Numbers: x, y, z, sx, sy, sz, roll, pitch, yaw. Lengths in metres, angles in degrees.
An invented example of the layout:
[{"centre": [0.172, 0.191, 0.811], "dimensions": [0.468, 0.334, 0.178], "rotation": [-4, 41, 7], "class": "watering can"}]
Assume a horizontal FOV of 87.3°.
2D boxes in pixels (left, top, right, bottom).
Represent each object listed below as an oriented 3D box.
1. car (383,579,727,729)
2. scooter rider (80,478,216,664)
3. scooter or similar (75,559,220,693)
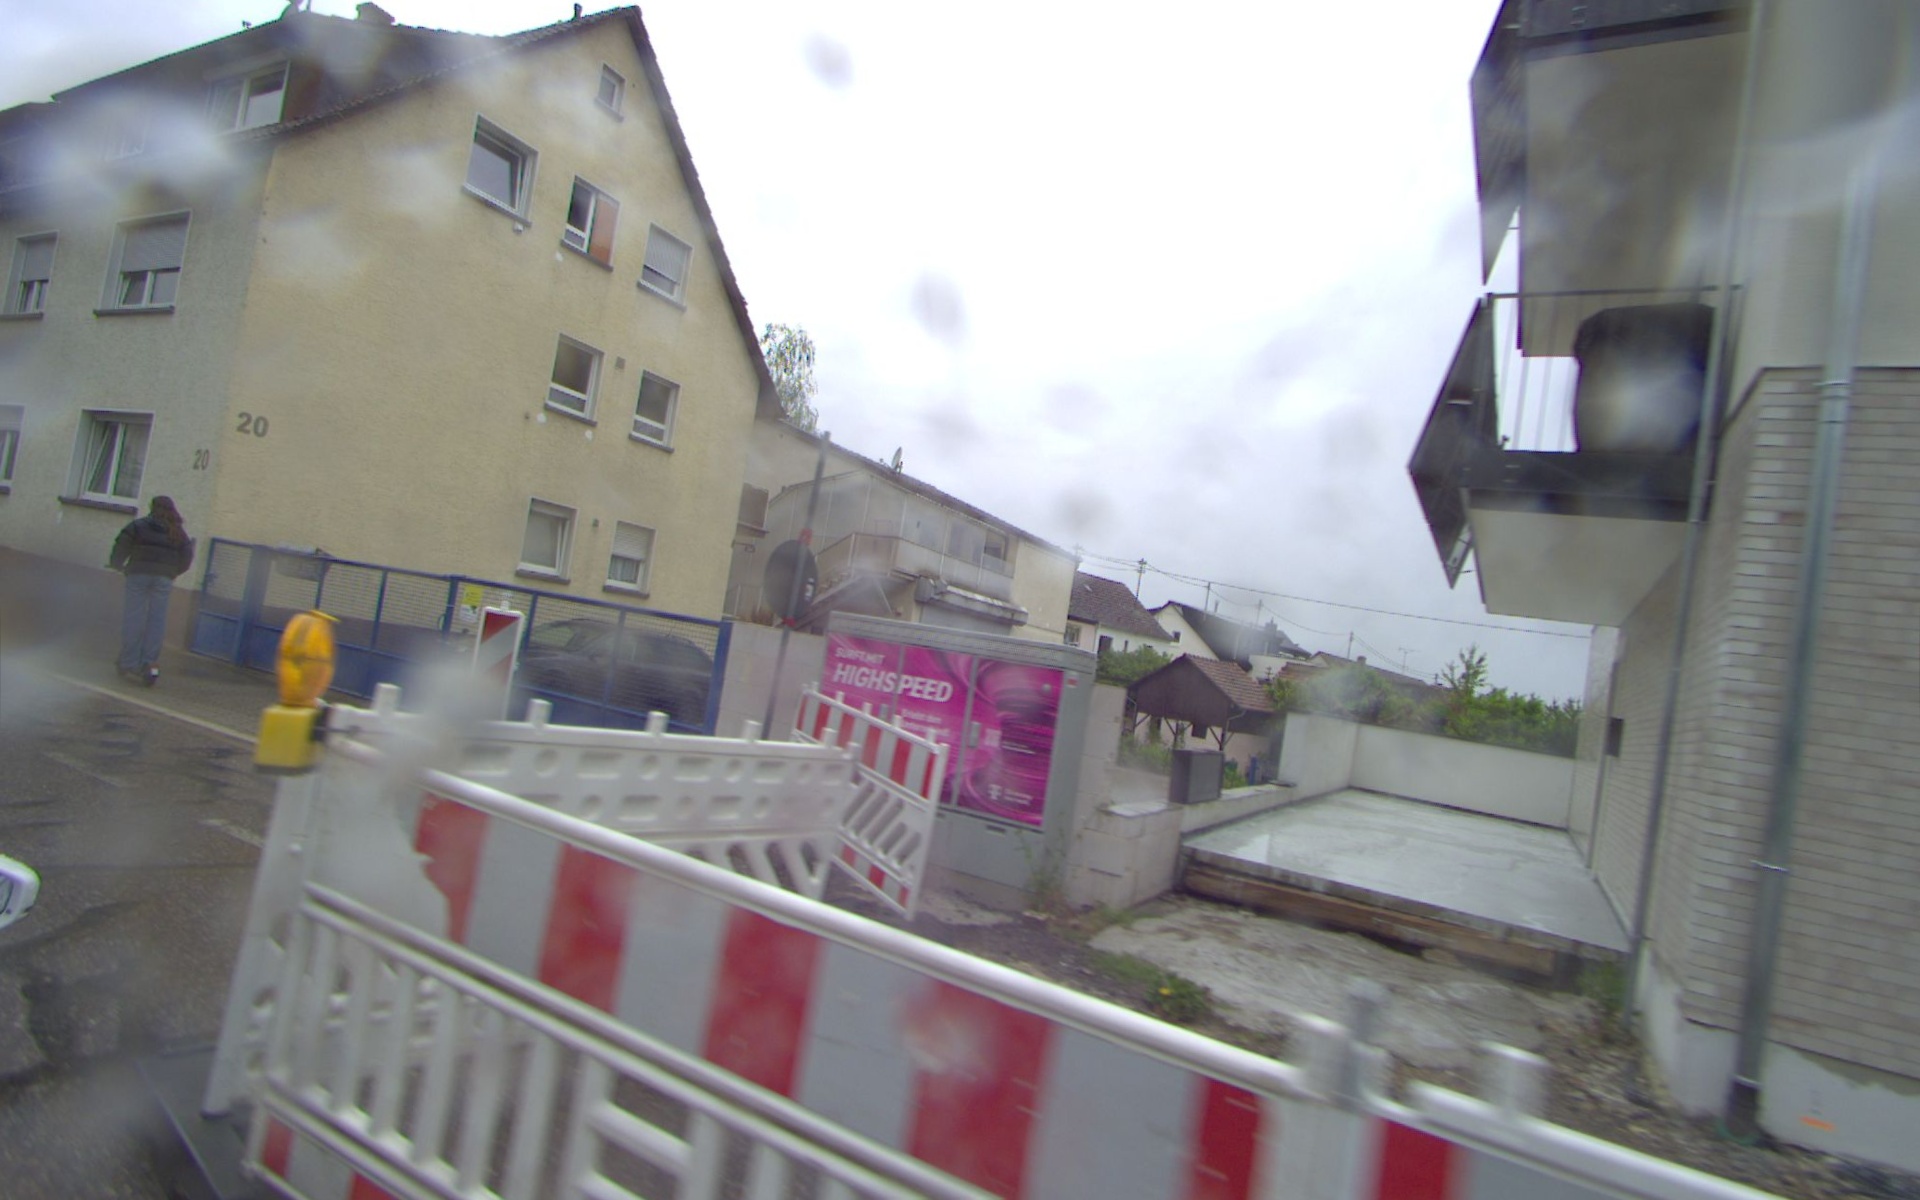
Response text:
[{"centre": [-5.525, 0.868, 14.319], "dimensions": [1.879, 1.313, 4.166], "rotation": [7, -7, 29], "class": "car"}, {"centre": [-8.246, -0.287, 10.230], "dimensions": [0.510, 1.751, 0.732], "rotation": [6, -4, 34], "class": "scooter rider"}, {"centre": [-8.165, 0.254, 10.100], "dimensions": [1.380, 1.139, 0.622], "rotation": [6, -4, 35], "class": "scooter or similar"}]
